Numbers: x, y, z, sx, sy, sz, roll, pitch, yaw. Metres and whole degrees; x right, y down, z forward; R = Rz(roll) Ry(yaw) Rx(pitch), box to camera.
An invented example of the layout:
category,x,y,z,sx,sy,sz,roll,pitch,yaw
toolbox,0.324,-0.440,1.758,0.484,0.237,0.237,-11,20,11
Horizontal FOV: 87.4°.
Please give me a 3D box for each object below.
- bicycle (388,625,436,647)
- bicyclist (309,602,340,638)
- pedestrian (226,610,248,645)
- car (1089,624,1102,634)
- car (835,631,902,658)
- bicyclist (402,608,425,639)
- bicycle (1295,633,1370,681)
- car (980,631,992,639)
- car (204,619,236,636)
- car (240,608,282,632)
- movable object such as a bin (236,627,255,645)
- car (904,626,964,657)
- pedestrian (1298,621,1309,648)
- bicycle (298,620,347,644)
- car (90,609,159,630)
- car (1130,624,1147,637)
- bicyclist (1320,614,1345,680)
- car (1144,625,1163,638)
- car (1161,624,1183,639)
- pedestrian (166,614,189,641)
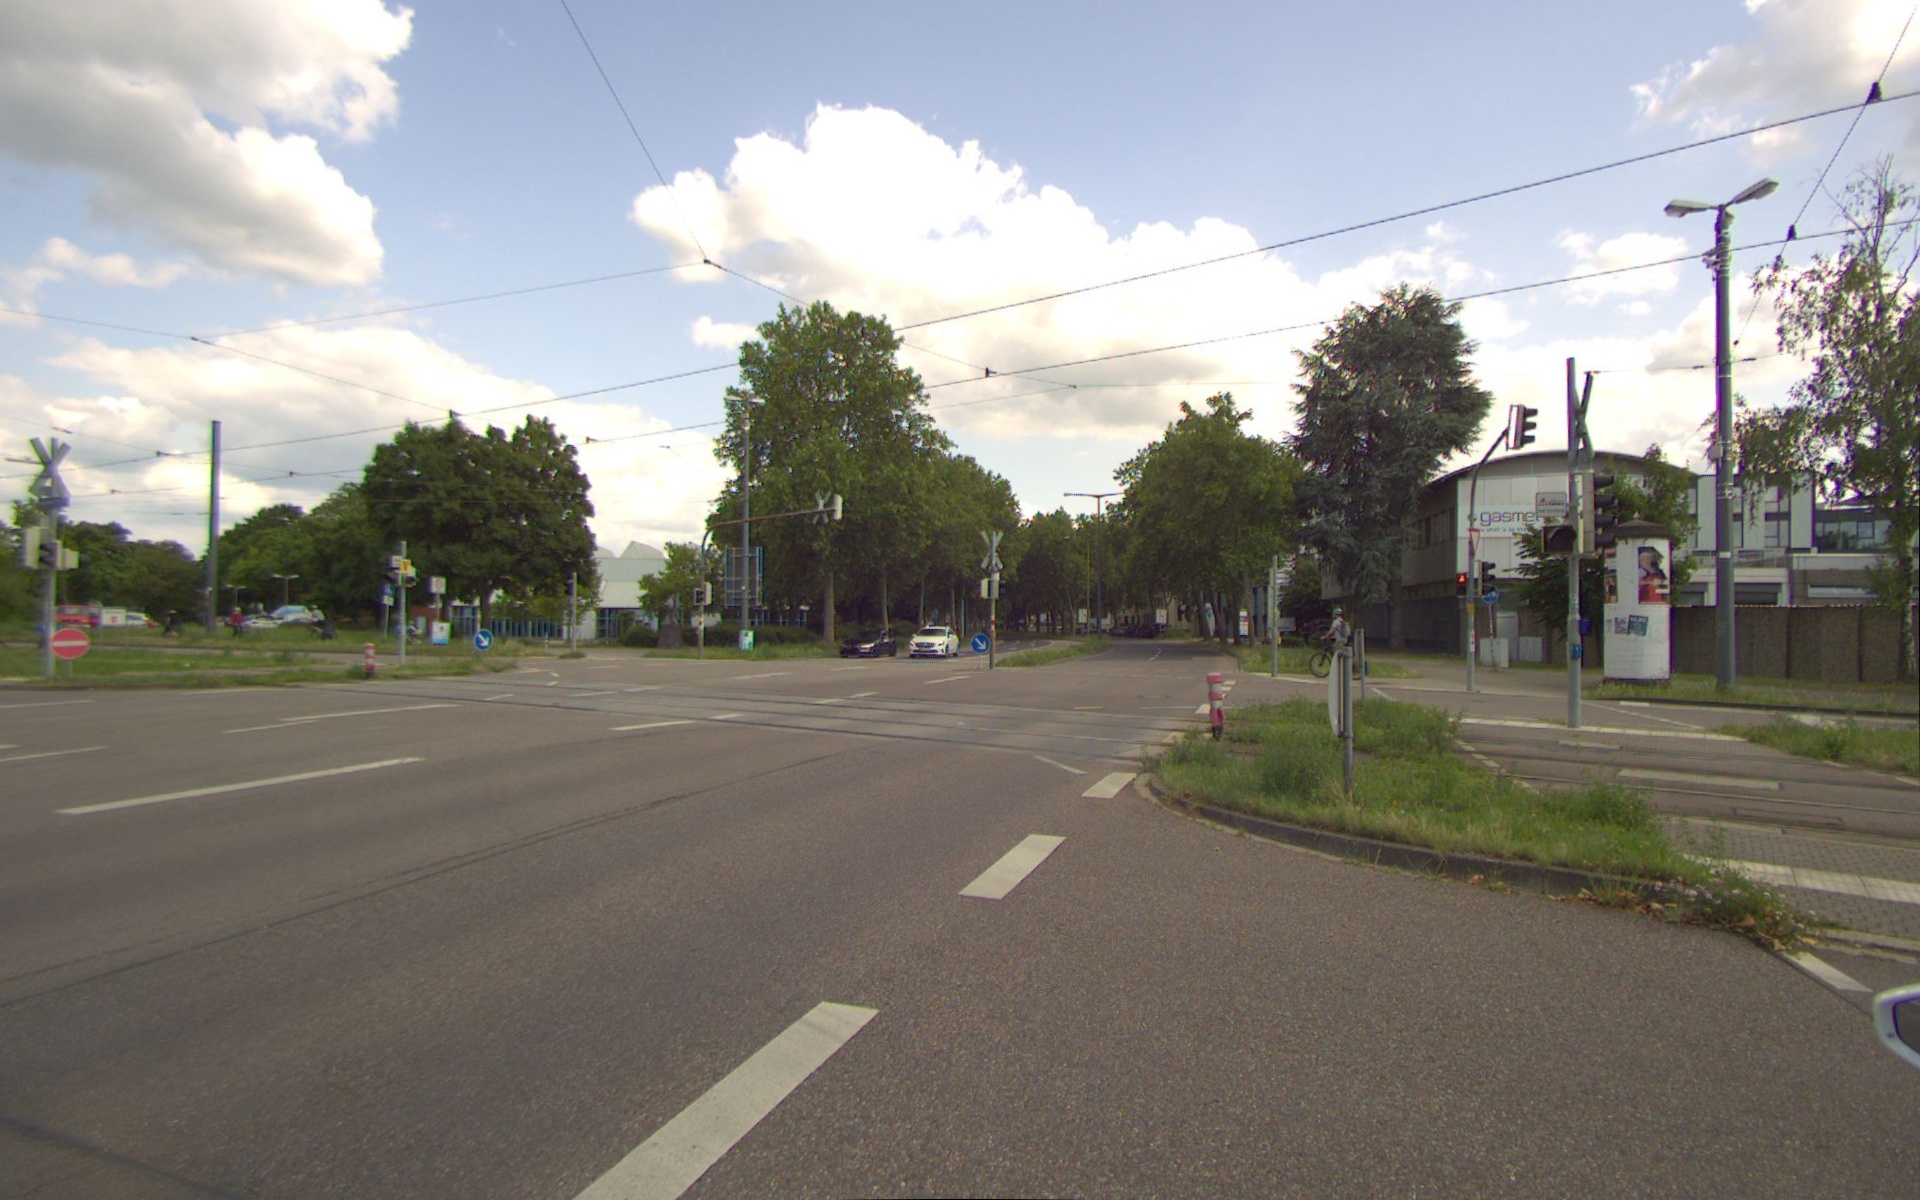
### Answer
category,x,y,z,sx,sy,sz,roll,pitch,yaw
bicycle,-26.978,1.749,49.477,1.954,1.054,0.947,1,-1,-20
bicyclist,-31.565,0.983,49.918,0.819,1.745,0.964,0,-1,14
pedestrian,-35.025,1.316,48.670,0.625,1.666,0.613,0,1,7
car,24.013,5.100,178.385,1.960,1.595,4.001,0,1,4
car,-4.298,2.066,47.671,1.608,1.207,3.707,0,-1,22
bicyclist,-26.944,1.172,49.499,0.823,1.509,0.959,1,-1,-20
bicycle,10.509,1.588,28.370,1.920,1.252,0.539,0,1,35
car,4.017,5.406,155.151,1.608,1.207,3.708,1,-1,-2
car,-71.737,2.661,97.373,1.986,1.661,4.335,2,-2,-43
car,-51.238,1.475,73.601,1.986,1.661,4.335,2,-2,-43
movable object such as a bin,-34.569,1.731,48.614,0.450,0.822,0.579,0,1,8
car,-1.172,1.935,47.547,1.794,1.382,4.140,0,-1,13
pedestrian,21.123,2.123,61.752,0.610,1.590,0.559,0,1,15
bicycle,-31.712,1.570,49.942,1.944,1.169,0.952,0,-1,13
car,-63.951,1.483,76.879,3.972,1.550,1.975,2,-2,-43
car,24.535,4.205,138.262,1.960,1.595,4.001,0,1,4
bicyclist,10.501,1.319,28.342,0.536,1.834,0.539,1,1,35
car,25.026,4.050,129.817,1.960,1.595,4.001,0,1,4
car,24.920,3.719,117.980,1.960,1.595,4.001,0,1,4
pedestrian,-40.467,1.417,51.937,0.737,1.372,0.651,0,1,22
